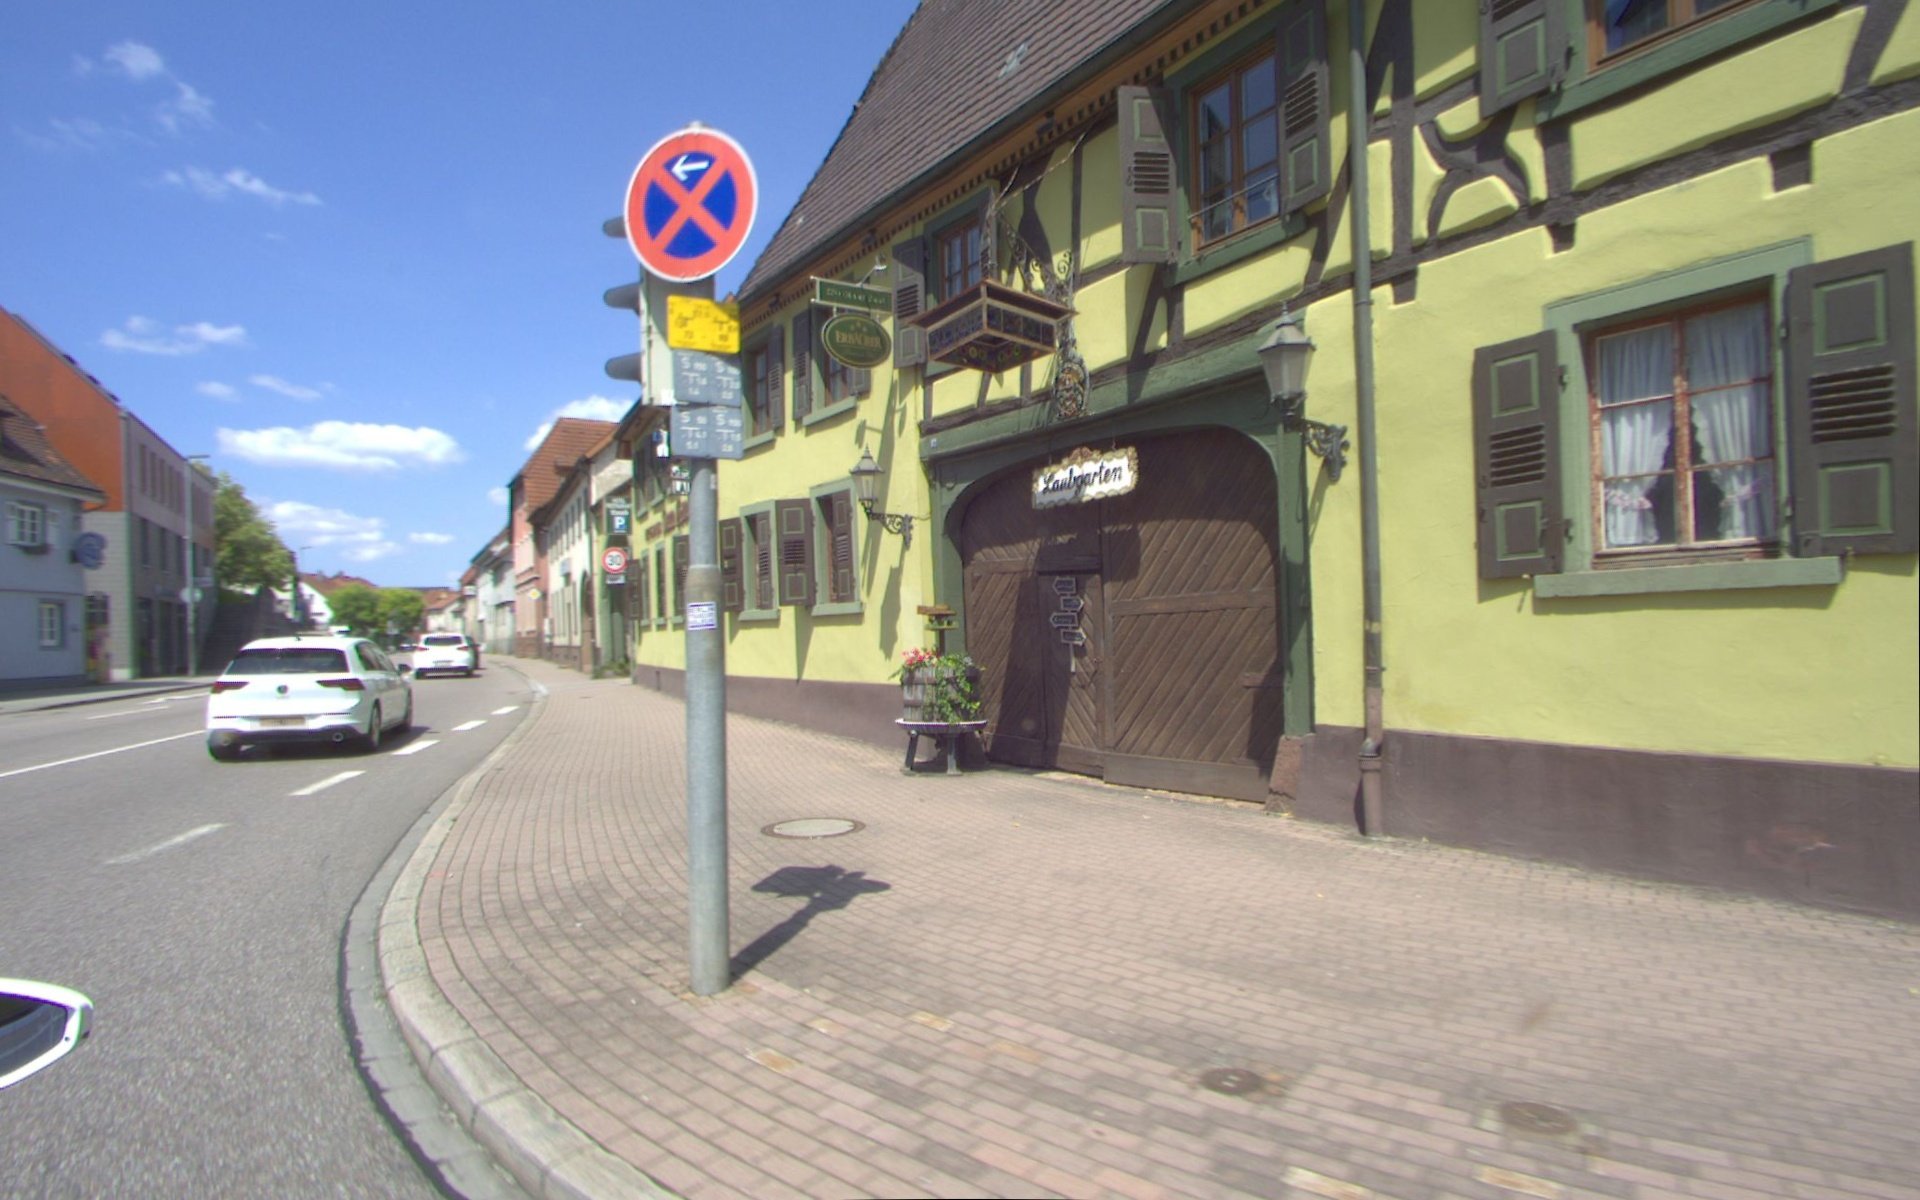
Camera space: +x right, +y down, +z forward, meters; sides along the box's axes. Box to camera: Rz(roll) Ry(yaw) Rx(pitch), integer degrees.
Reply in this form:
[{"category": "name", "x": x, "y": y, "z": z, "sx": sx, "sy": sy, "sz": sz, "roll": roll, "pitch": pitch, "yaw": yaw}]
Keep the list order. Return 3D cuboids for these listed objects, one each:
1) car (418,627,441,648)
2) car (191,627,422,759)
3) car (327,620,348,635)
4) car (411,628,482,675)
[{"category": "car", "x": -48.995, "y": 3.492, "z": 92.434, "sx": 1.762, "sy": 1.863, "sz": 3.846, "roll": 0, "pitch": -2, "yaw": -29}, {"category": "car", "x": -8.586, "y": 1.141, "z": 13.528, "sx": 1.758, "sy": 1.477, "sz": 3.855, "roll": 0, "pitch": -2, "yaw": -20}, {"category": "car", "x": -73.310, "y": 3.278, "z": 117.922, "sx": 1.972, "sy": 1.738, "sz": 3.980, "roll": 1, "pitch": -3, "yaw": -30}, {"category": "car", "x": -17.121, "y": 1.699, "z": 33.542, "sx": 1.759, "sy": 1.477, "sz": 3.853, "roll": 0, "pitch": -2, "yaw": -22}]
